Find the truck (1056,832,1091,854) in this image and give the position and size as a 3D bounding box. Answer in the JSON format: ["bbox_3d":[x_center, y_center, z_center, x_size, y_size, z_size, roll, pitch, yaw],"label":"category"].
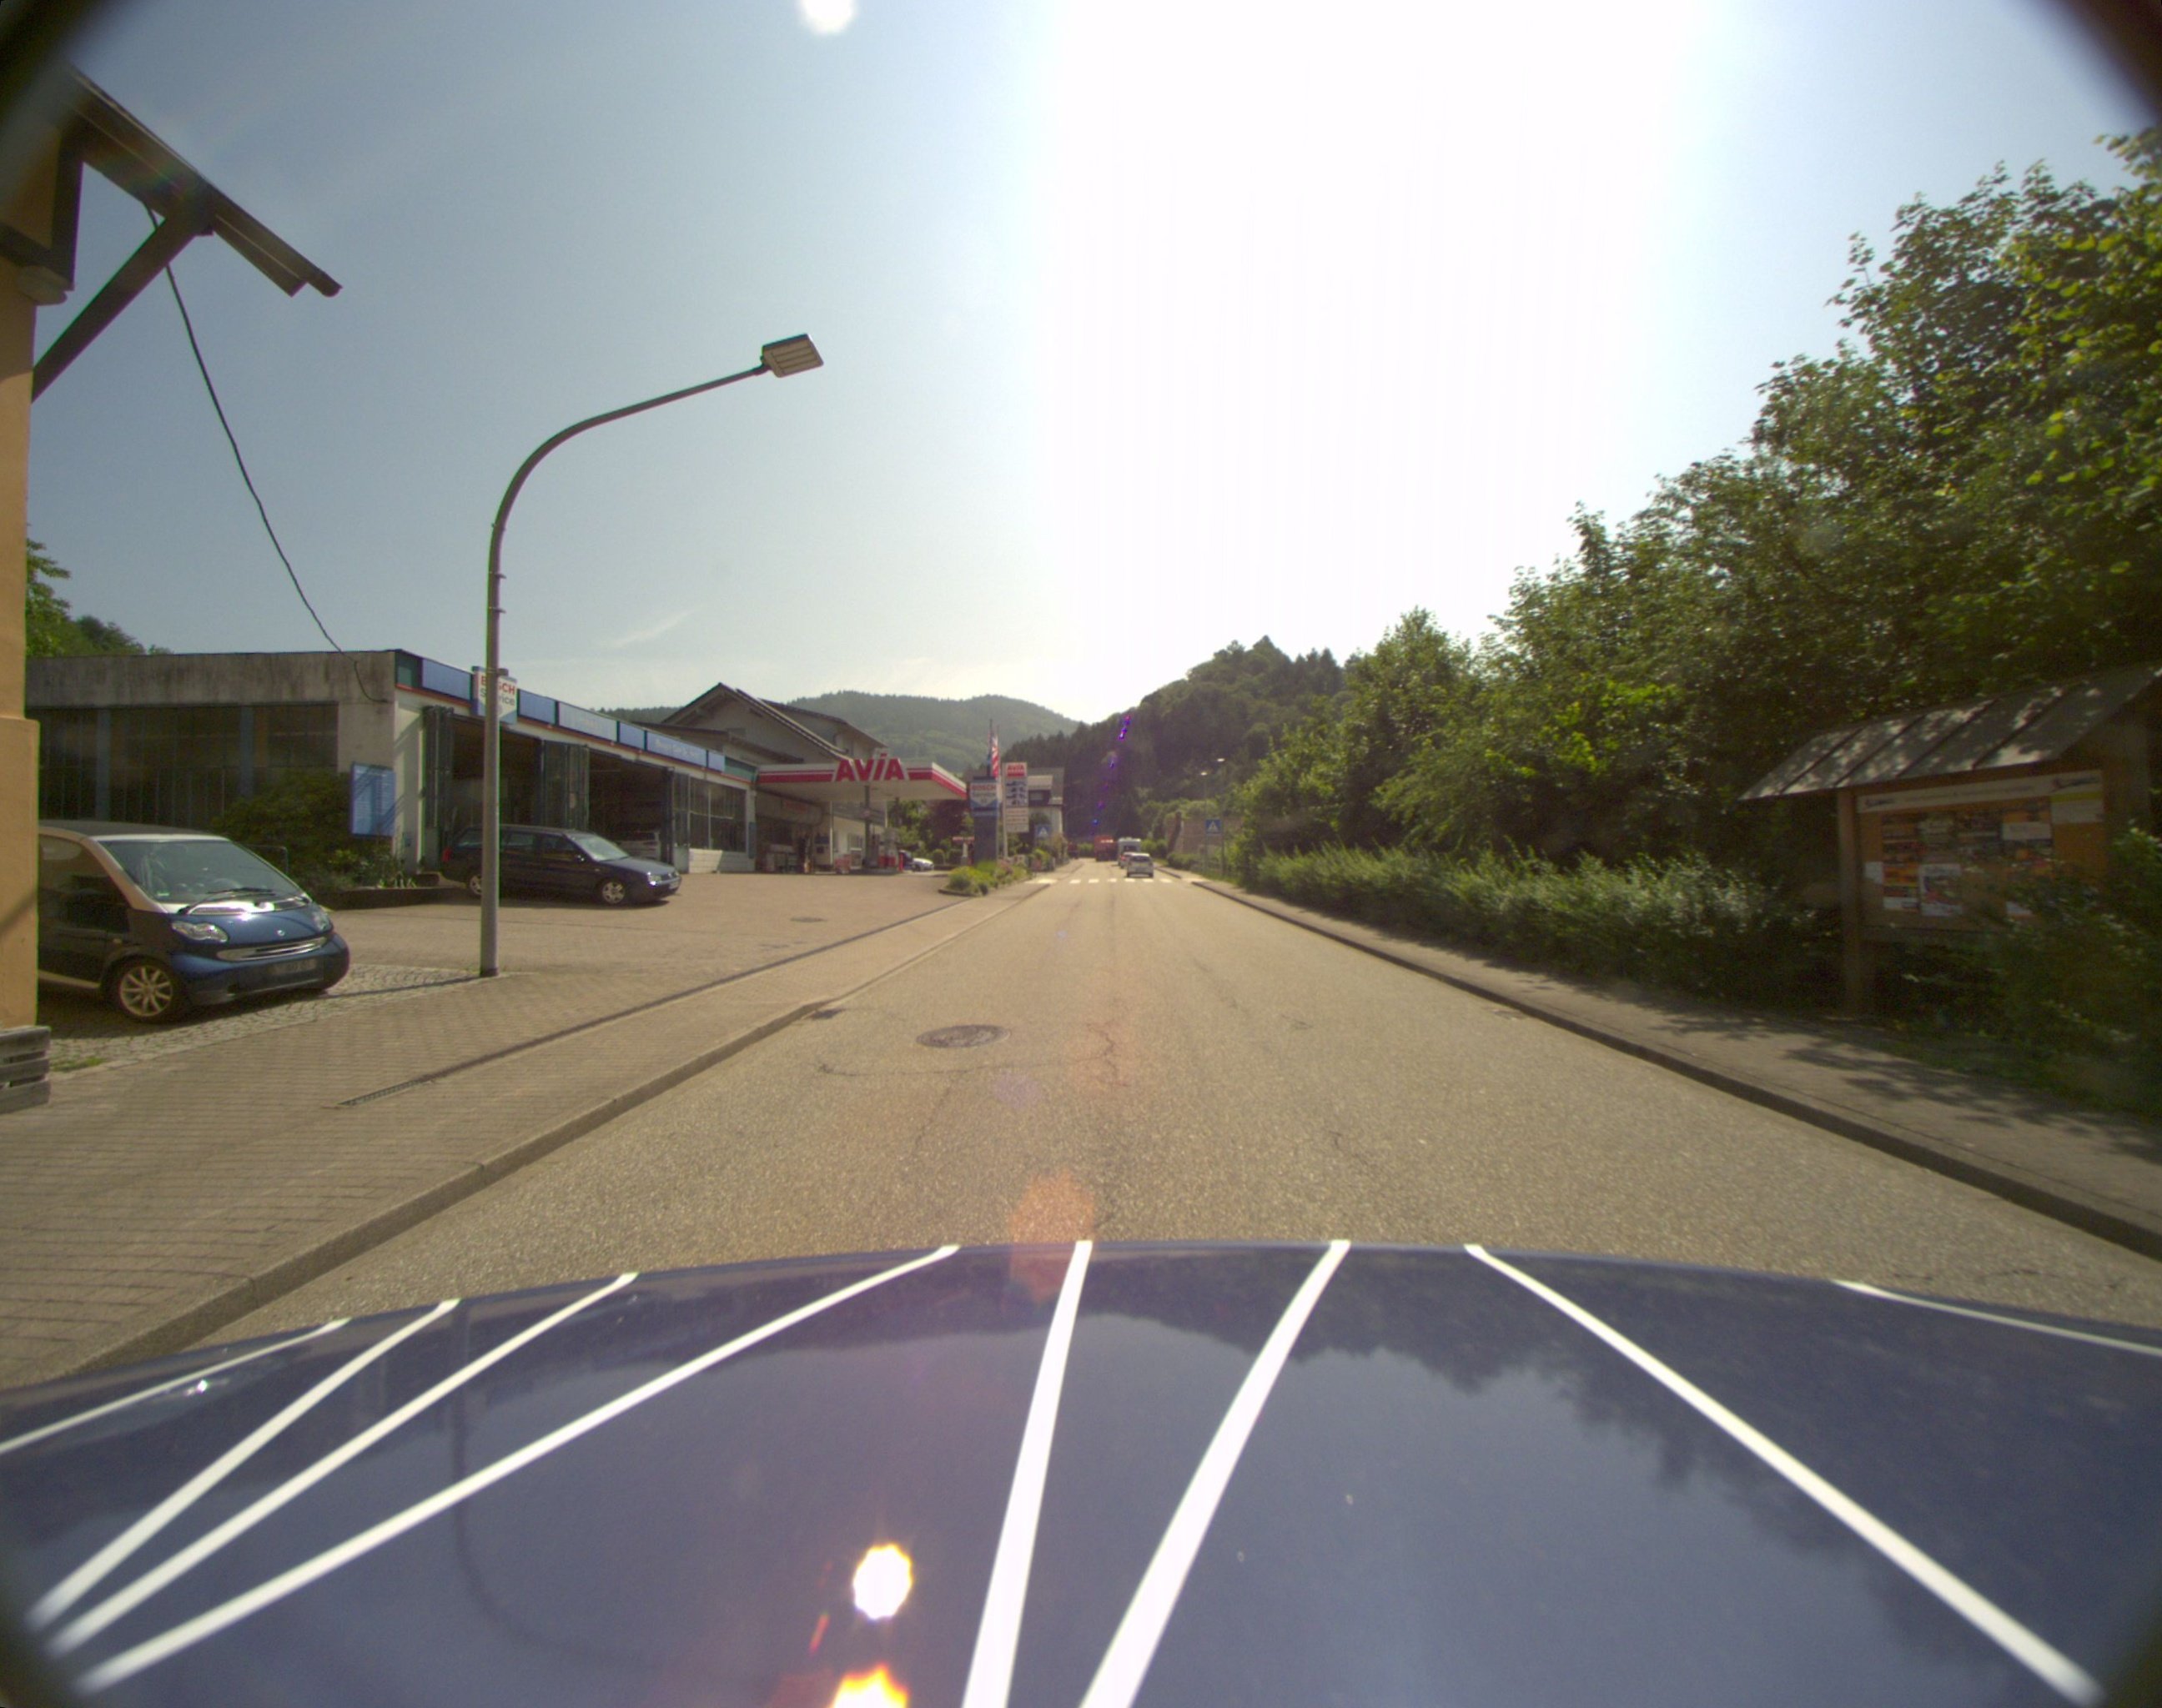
[{"bbox_3d":[-1.362,-1.889,130.058,2.657,3.561,7.753,0,1,-28],"label":"truck"}]

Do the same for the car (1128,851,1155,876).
[{"bbox_3d":[3.734,0.556,47.082,1.594,1.474,3.758,1,0,4],"label":"car"}]

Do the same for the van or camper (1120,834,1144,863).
[{"bbox_3d":[5.420,-0.620,82.179,2.364,2.936,8.052,1,0,3],"label":"van or camper"}]

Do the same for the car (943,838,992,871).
[{"bbox_3d":[-5.906,-0.021,39.987,1.696,1.568,3.911,3,1,3],"label":"car"}]

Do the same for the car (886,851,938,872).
[{"bbox_3d":[-11.070,0.488,49.803,3.080,1.138,1.335,3,1,1],"label":"car"}]

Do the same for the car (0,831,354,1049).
[{"bbox_3d":[-8.495,0.669,6.723,2.660,1.527,1.425,5,2,-2],"label":"car"}]

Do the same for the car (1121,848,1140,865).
[{"bbox_3d":[4.485,0.240,69.583,1.608,1.398,3.827,2,1,2],"label":"car"}]

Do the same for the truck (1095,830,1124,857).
[{"bbox_3d":[3.932,-1.478,107.311,2.653,3.561,8.185,1,1,-8],"label":"truck"}]

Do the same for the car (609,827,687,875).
[{"bbox_3d":[-16.657,-0.159,29.410,1.607,1.678,3.923,3,1,-15],"label":"car"}]

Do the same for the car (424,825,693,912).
[{"bbox_3d":[-10.910,0.288,16.167,4.331,1.536,1.798,3,1,-7],"label":"car"}]
